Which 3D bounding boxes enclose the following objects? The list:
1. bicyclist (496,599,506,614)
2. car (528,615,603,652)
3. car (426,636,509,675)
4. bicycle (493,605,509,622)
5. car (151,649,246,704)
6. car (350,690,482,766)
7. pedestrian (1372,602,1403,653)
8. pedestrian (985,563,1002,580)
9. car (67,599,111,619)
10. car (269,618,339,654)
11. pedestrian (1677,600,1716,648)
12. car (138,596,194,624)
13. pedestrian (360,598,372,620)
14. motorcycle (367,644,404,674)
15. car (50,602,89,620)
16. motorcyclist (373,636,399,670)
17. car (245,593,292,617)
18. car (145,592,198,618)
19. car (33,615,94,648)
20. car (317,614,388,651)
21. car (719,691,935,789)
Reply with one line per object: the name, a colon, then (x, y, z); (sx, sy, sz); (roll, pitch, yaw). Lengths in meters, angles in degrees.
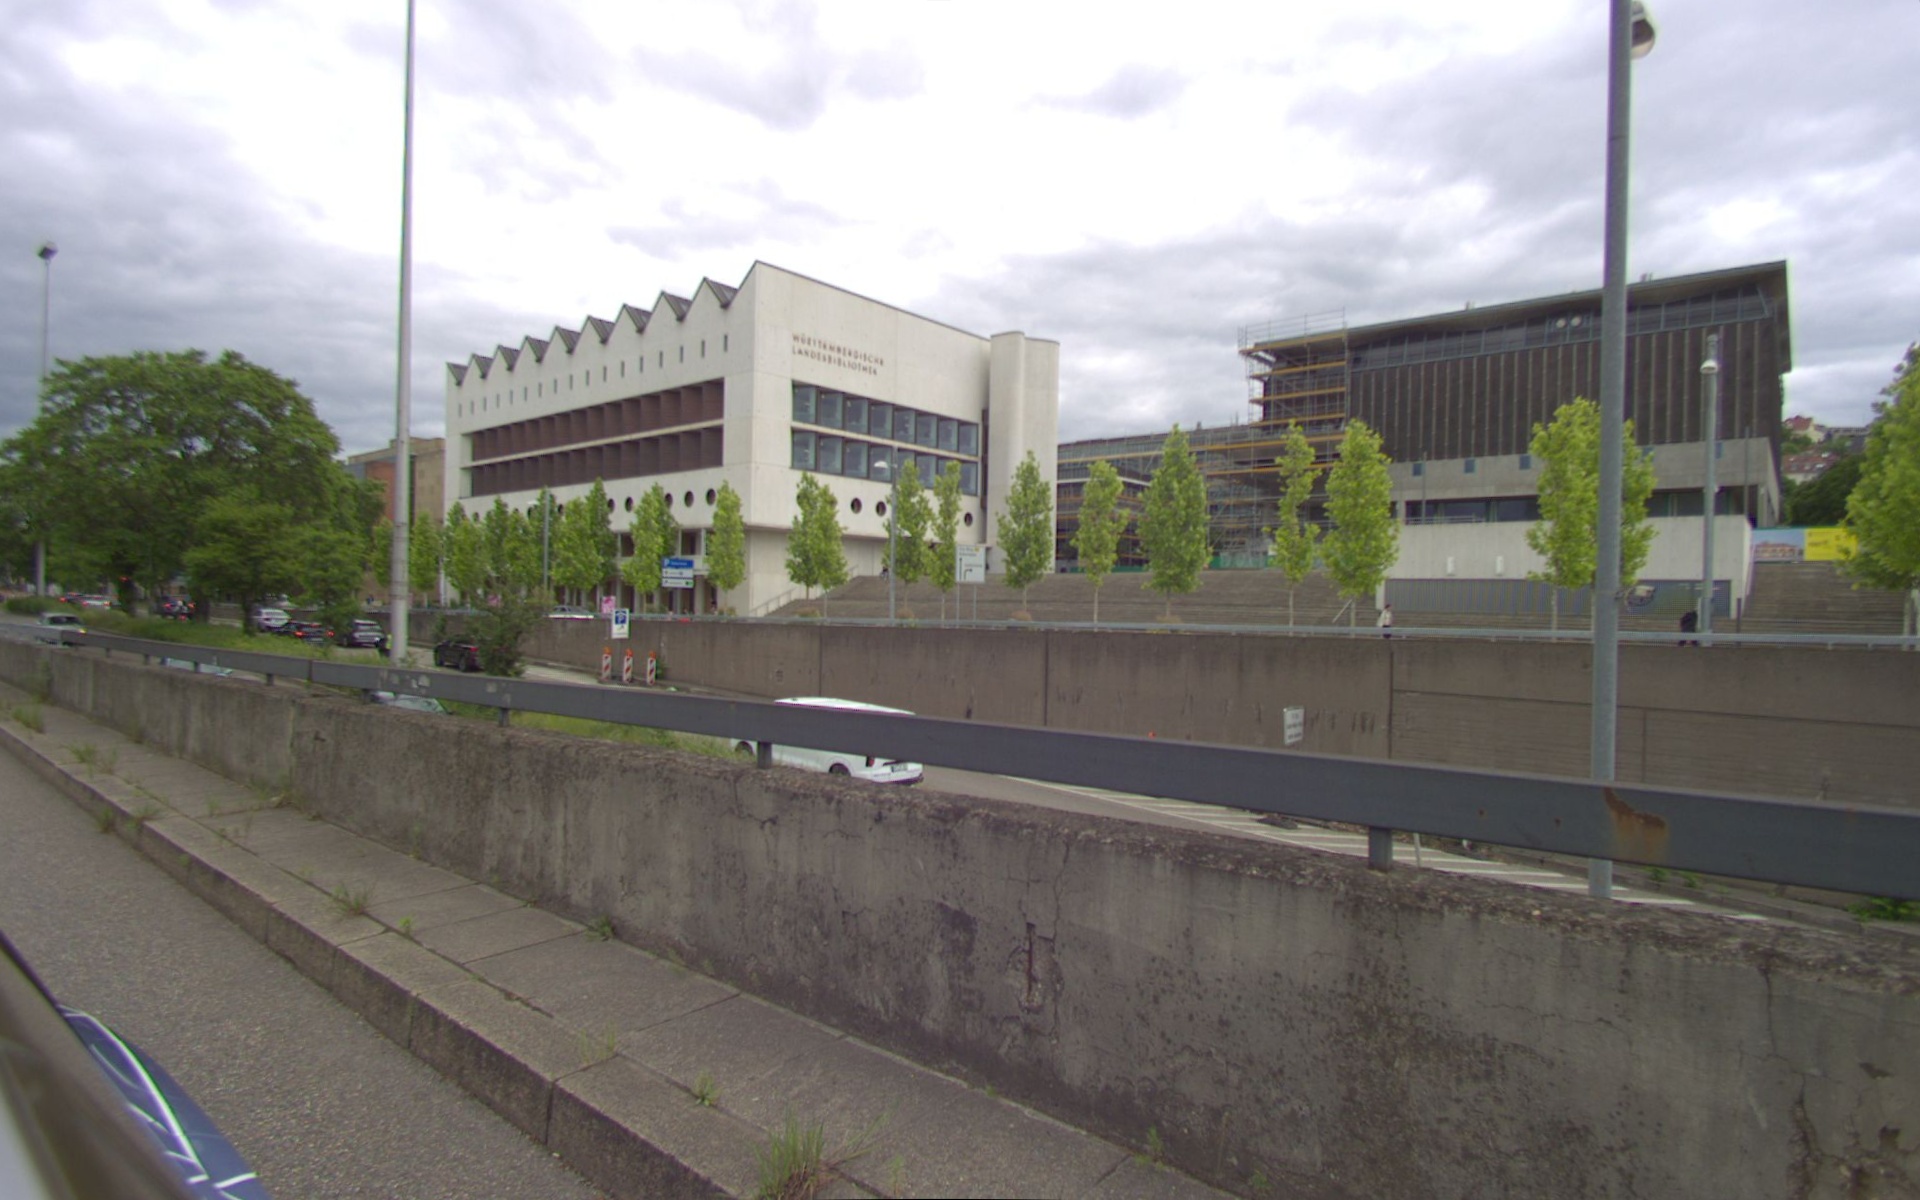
bicyclist: (-35.930, 0.529, 79.200); (0.643, 1.169, 0.398); (1, 2, 39)
car: (-20.684, 1.748, 52.985); (3.998, 1.776, 1.973); (0, -3, 41)
car: (-21.675, 2.422, 44.499); (4.003, 1.338, 1.787); (4, 1, 40)
bicycle: (-35.927, 1.069, 79.217); (1.697, 1.282, 0.398); (1, 2, 39)
car: (-24.054, 2.371, 31.923); (4.089, 1.425, 1.539); (0, 0, 40)
car: (-13.736, 3.145, 25.468); (4.089, 1.425, 1.539); (0, 0, 40)
pedestrian: (17.204, 1.123, 40.755); (0.728, 2.029, 0.795); (0, -2, -28)
pedestrian: (2.220, -1.897, 67.725); (0.767, 0.950, 0.718); (3, 23, 34)
car: (-67.888, 0.685, 78.827); (3.998, 1.409, 1.973); (0, -3, 41)
car: (-32.601, 1.770, 50.245); (4.144, 1.500, 1.757); (4, 0, 40)
pedestrian: (25.679, 0.849, 35.298); (0.728, 1.655, 0.795); (0, -2, -22)
car: (-51.747, 0.665, 65.925); (4.515, 1.687, 1.973); (0, -3, 41)
pedestrian: (-54.391, 0.820, 92.669); (1.016, 2.028, 0.712); (1, 2, 42)
motorcycle: (-24.602, 2.516, 43.321); (2.050, 1.106, 0.678); (3, -2, 41)
car: (-76.466, 0.944, 86.898); (3.998, 1.409, 1.973); (0, -3, 41)
motorcyclist: (-24.582, 2.266, 43.336); (0.718, 1.362, 0.662); (3, -2, 40)
car: (-53.806, 0.377, 78.703); (3.998, 1.776, 1.973); (0, -3, 41)
car: (-59.445, 0.353, 76.234); (4.514, 1.657, 2.133); (2, -2, 39)
car: (-43.260, 1.490, 48.810); (4.089, 1.425, 1.636); (0, 0, 40)
car: (-32.571, 1.742, 54.234); (4.387, 1.624, 1.851); (4, 1, 39)
car: (-3.265, 3.250, 24.154); (5.246, 1.651, 1.974); (2, -5, 40)
